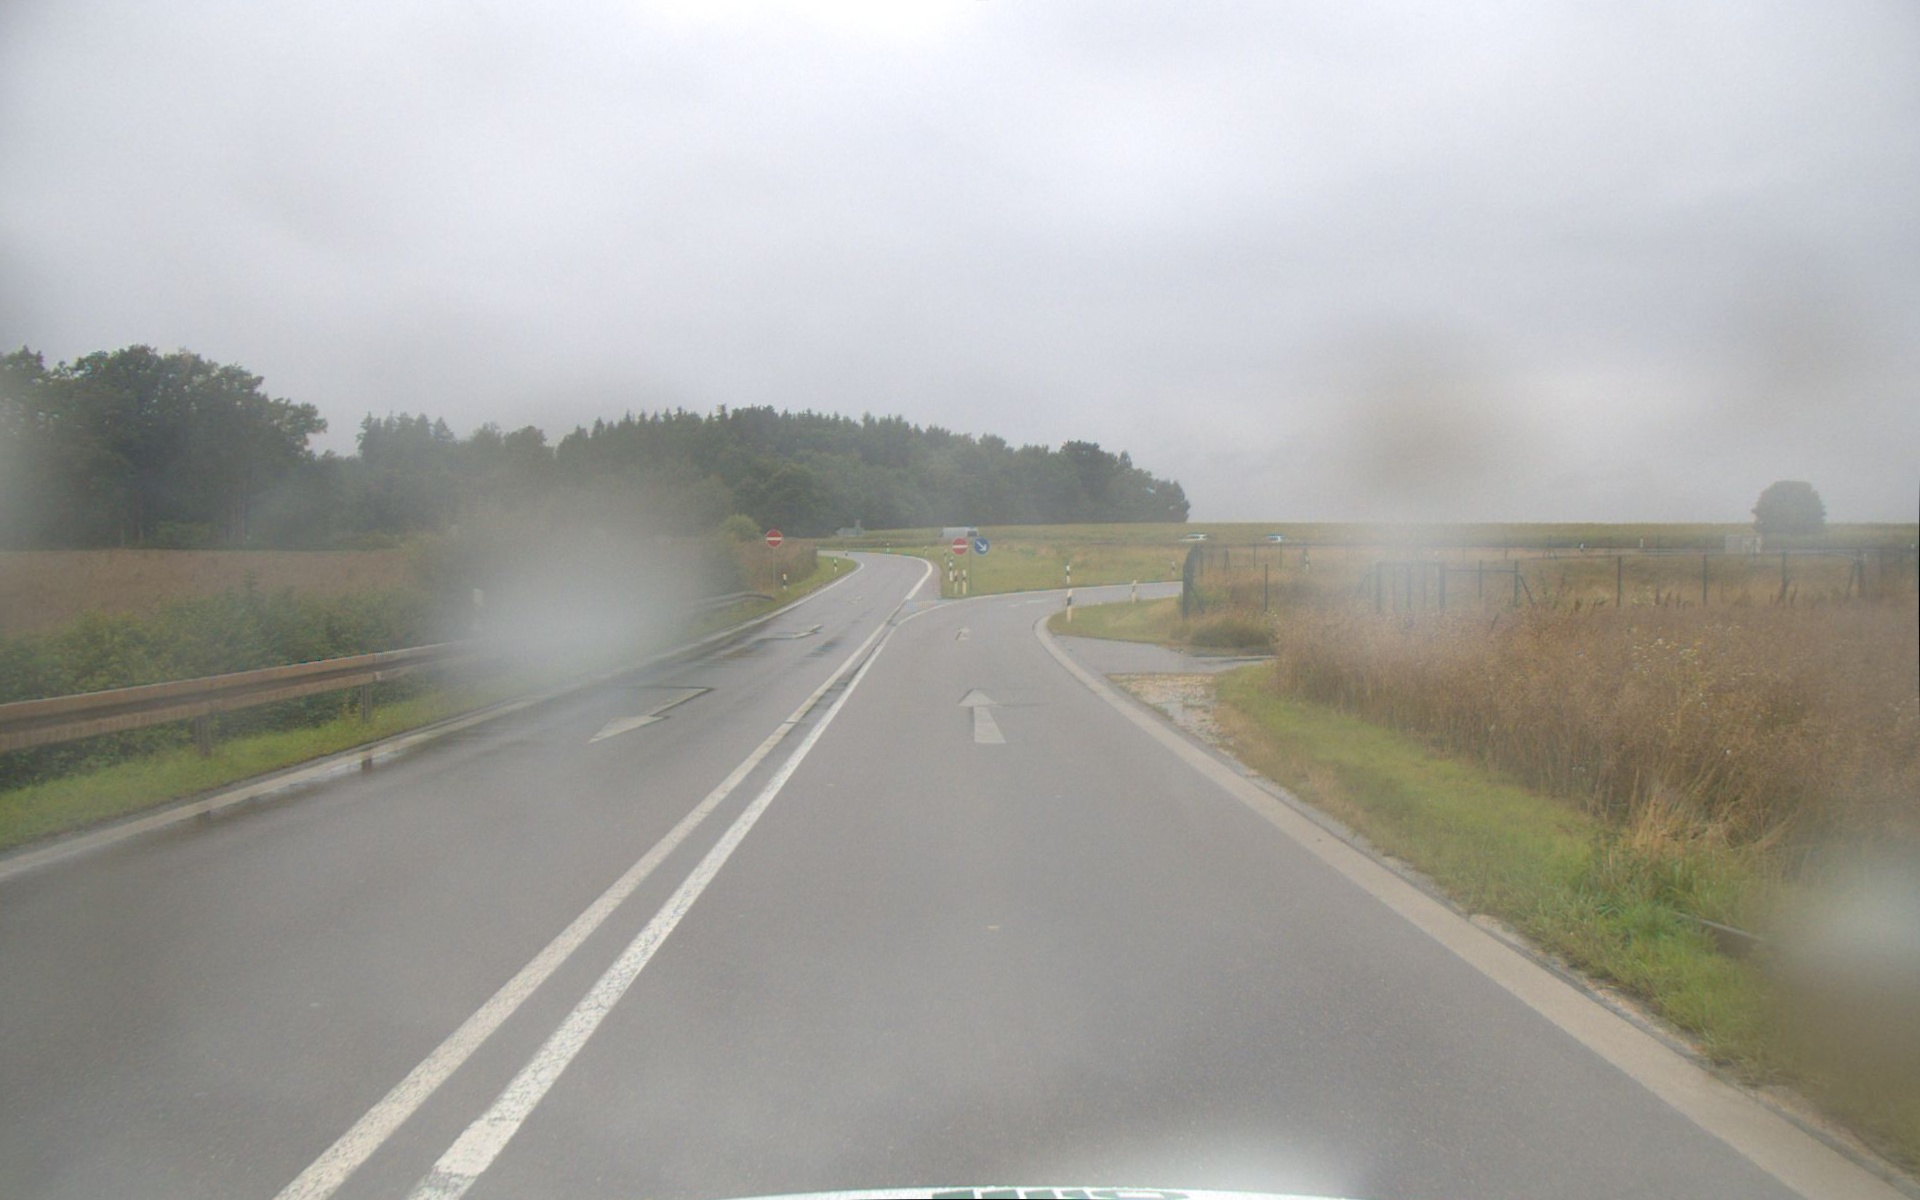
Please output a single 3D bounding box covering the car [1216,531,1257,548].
[{"bbox_3d":[28.697,-6.281,171.723,1.722,1.766,3.937,-4,4,-43],"label":"car"}]
